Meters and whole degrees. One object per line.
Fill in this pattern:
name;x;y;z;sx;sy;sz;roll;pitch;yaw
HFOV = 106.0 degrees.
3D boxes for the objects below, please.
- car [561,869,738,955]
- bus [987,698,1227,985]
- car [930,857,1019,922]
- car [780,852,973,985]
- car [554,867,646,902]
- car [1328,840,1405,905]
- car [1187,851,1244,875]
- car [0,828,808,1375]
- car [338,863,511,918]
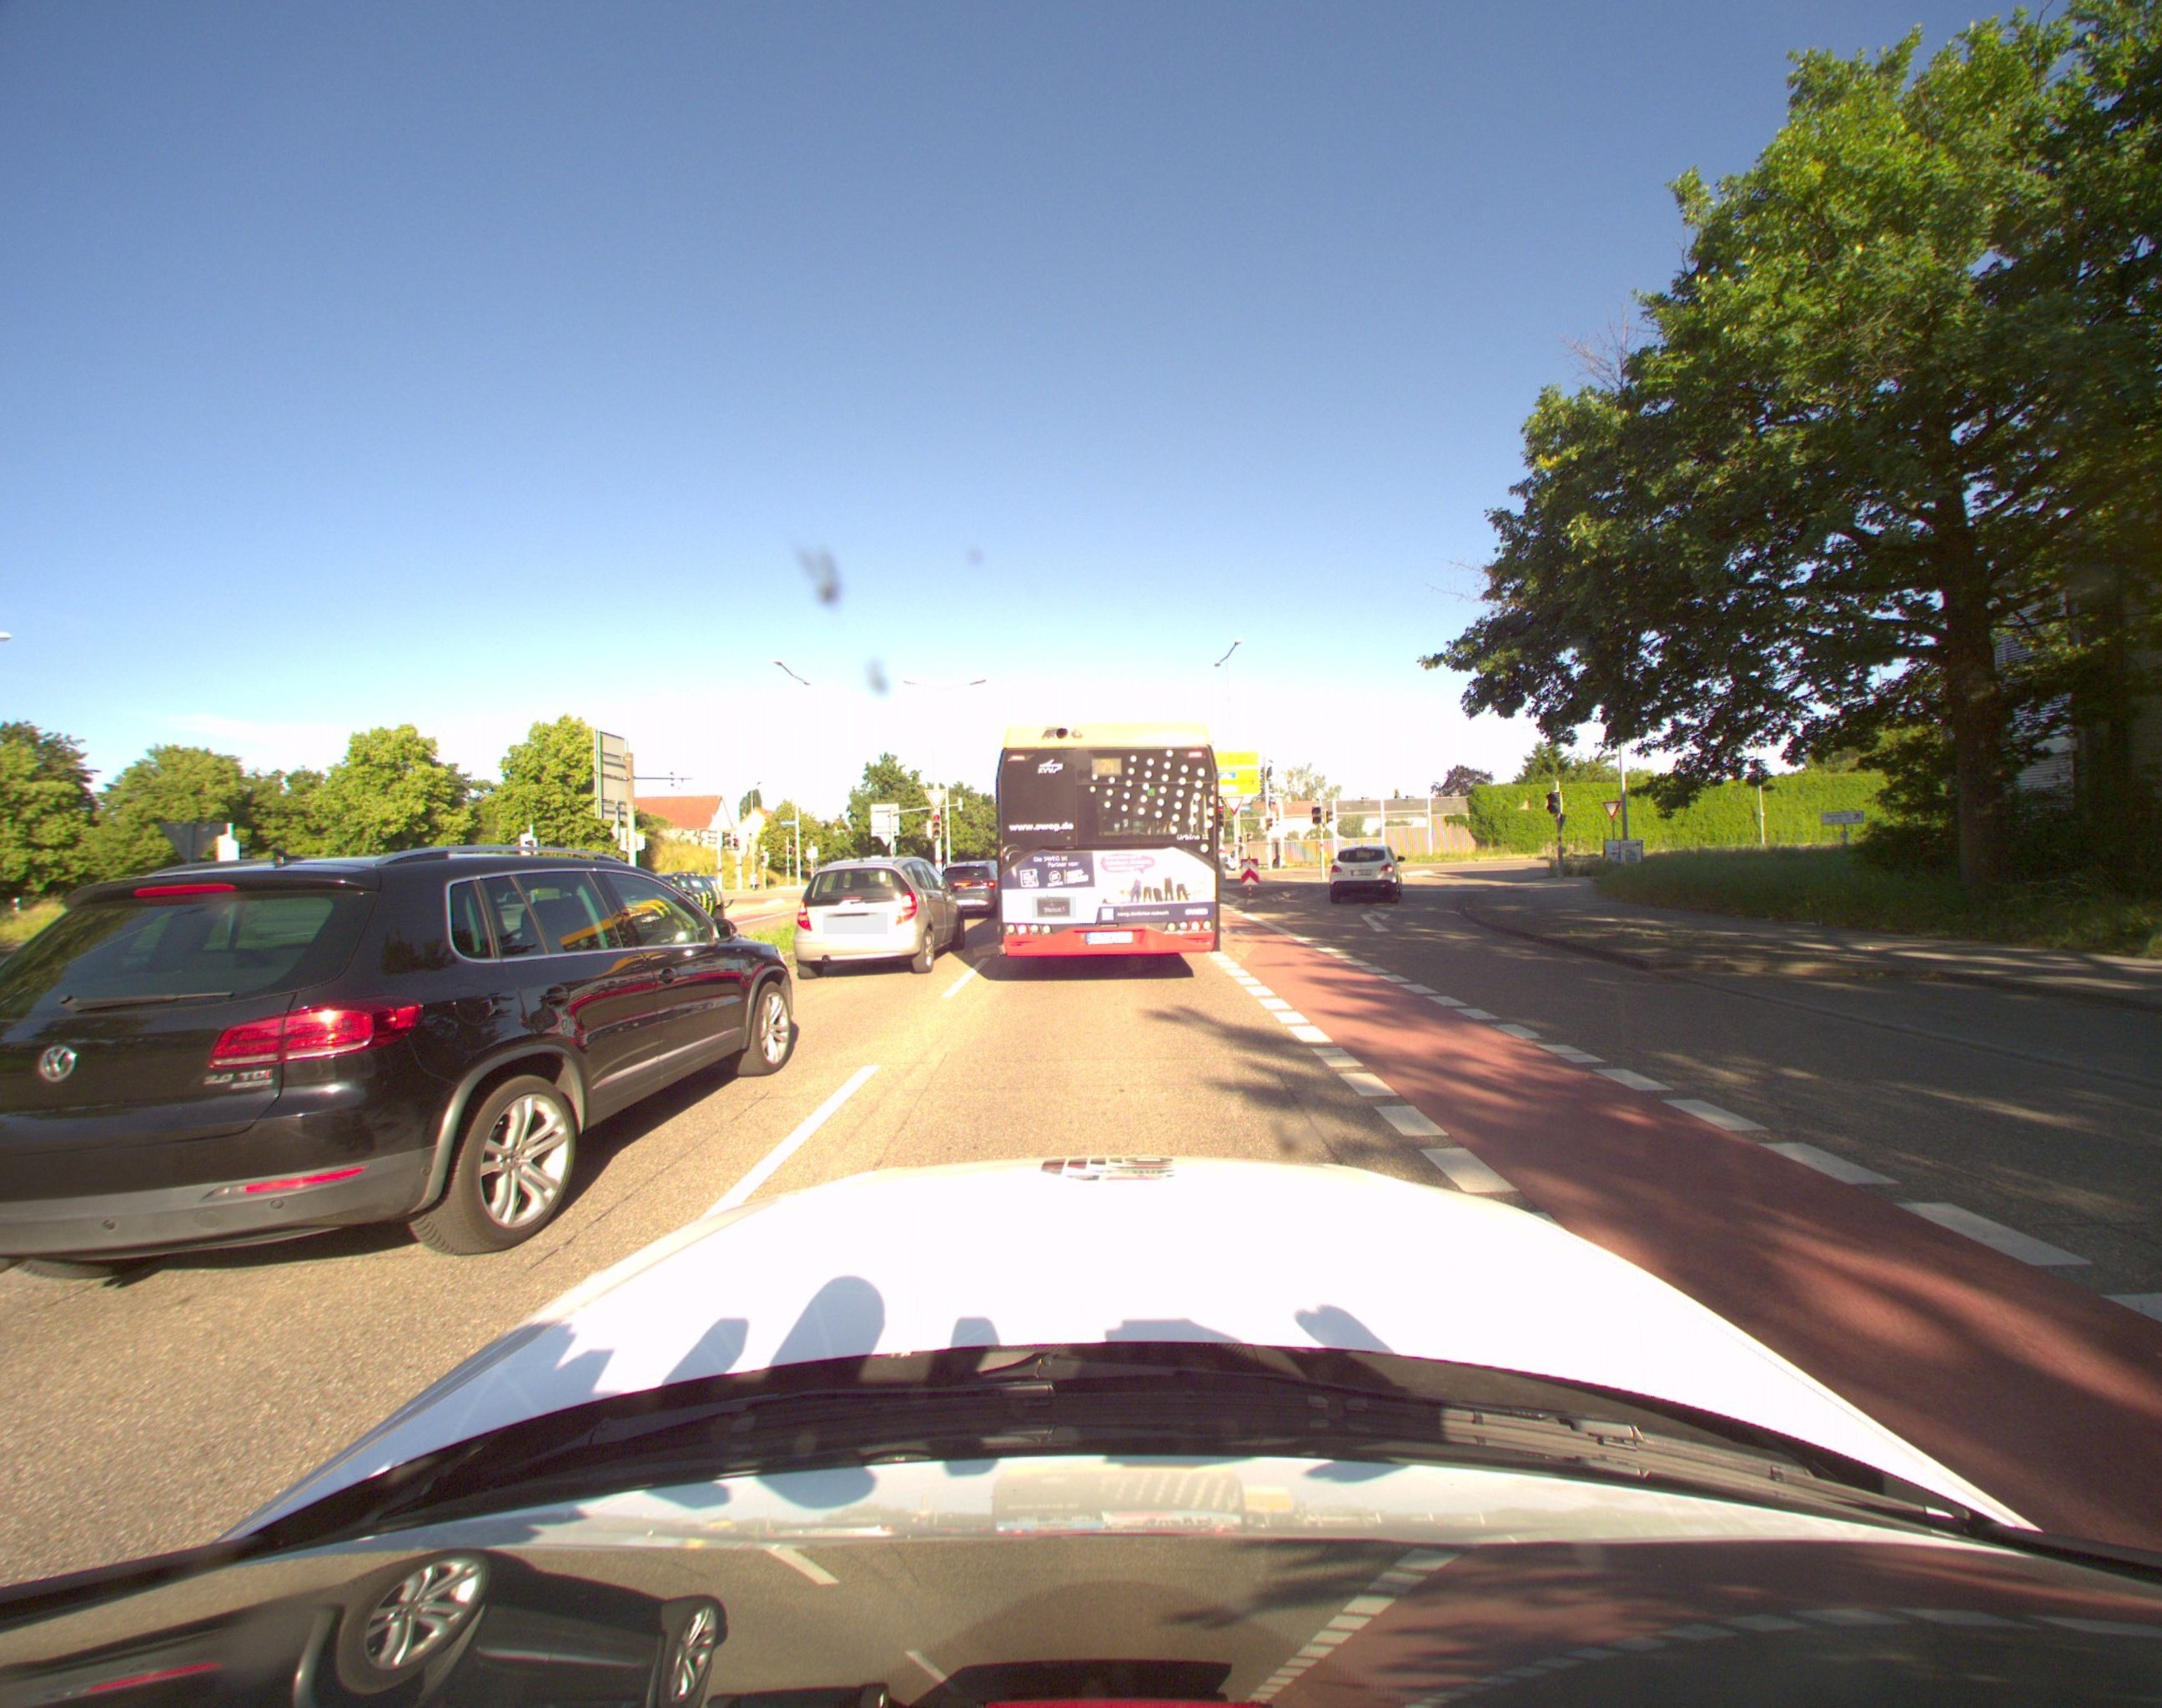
car;-9.186;1.149;17.760;1.759;1.526;4.076;-3;0;-3
bus;0.524;-0.166;15.025;2.632;3.167;11.867;-1;0;2
car;-2.688;0.855;21.321;1.686;1.458;3.751;-3;0;1
car;-2.873;0.823;12.387;1.755;1.589;4.001;-3;0;1
car;-24.572;1.538;41.677;3.577;1.560;1.747;-2;0;-5
car;8.249;0.469;23.323;1.702;1.607;4.091;-2;1;24
car;10.349;0.671;62.639;3.951;1.816;1.934;-1;-1;23
car;-3.169;0.798;4.561;1.766;1.653;4.001;-3;0;1
car;-27.613;1.508;34.413;5.375;2.118;2.178;-1;-1;-4
